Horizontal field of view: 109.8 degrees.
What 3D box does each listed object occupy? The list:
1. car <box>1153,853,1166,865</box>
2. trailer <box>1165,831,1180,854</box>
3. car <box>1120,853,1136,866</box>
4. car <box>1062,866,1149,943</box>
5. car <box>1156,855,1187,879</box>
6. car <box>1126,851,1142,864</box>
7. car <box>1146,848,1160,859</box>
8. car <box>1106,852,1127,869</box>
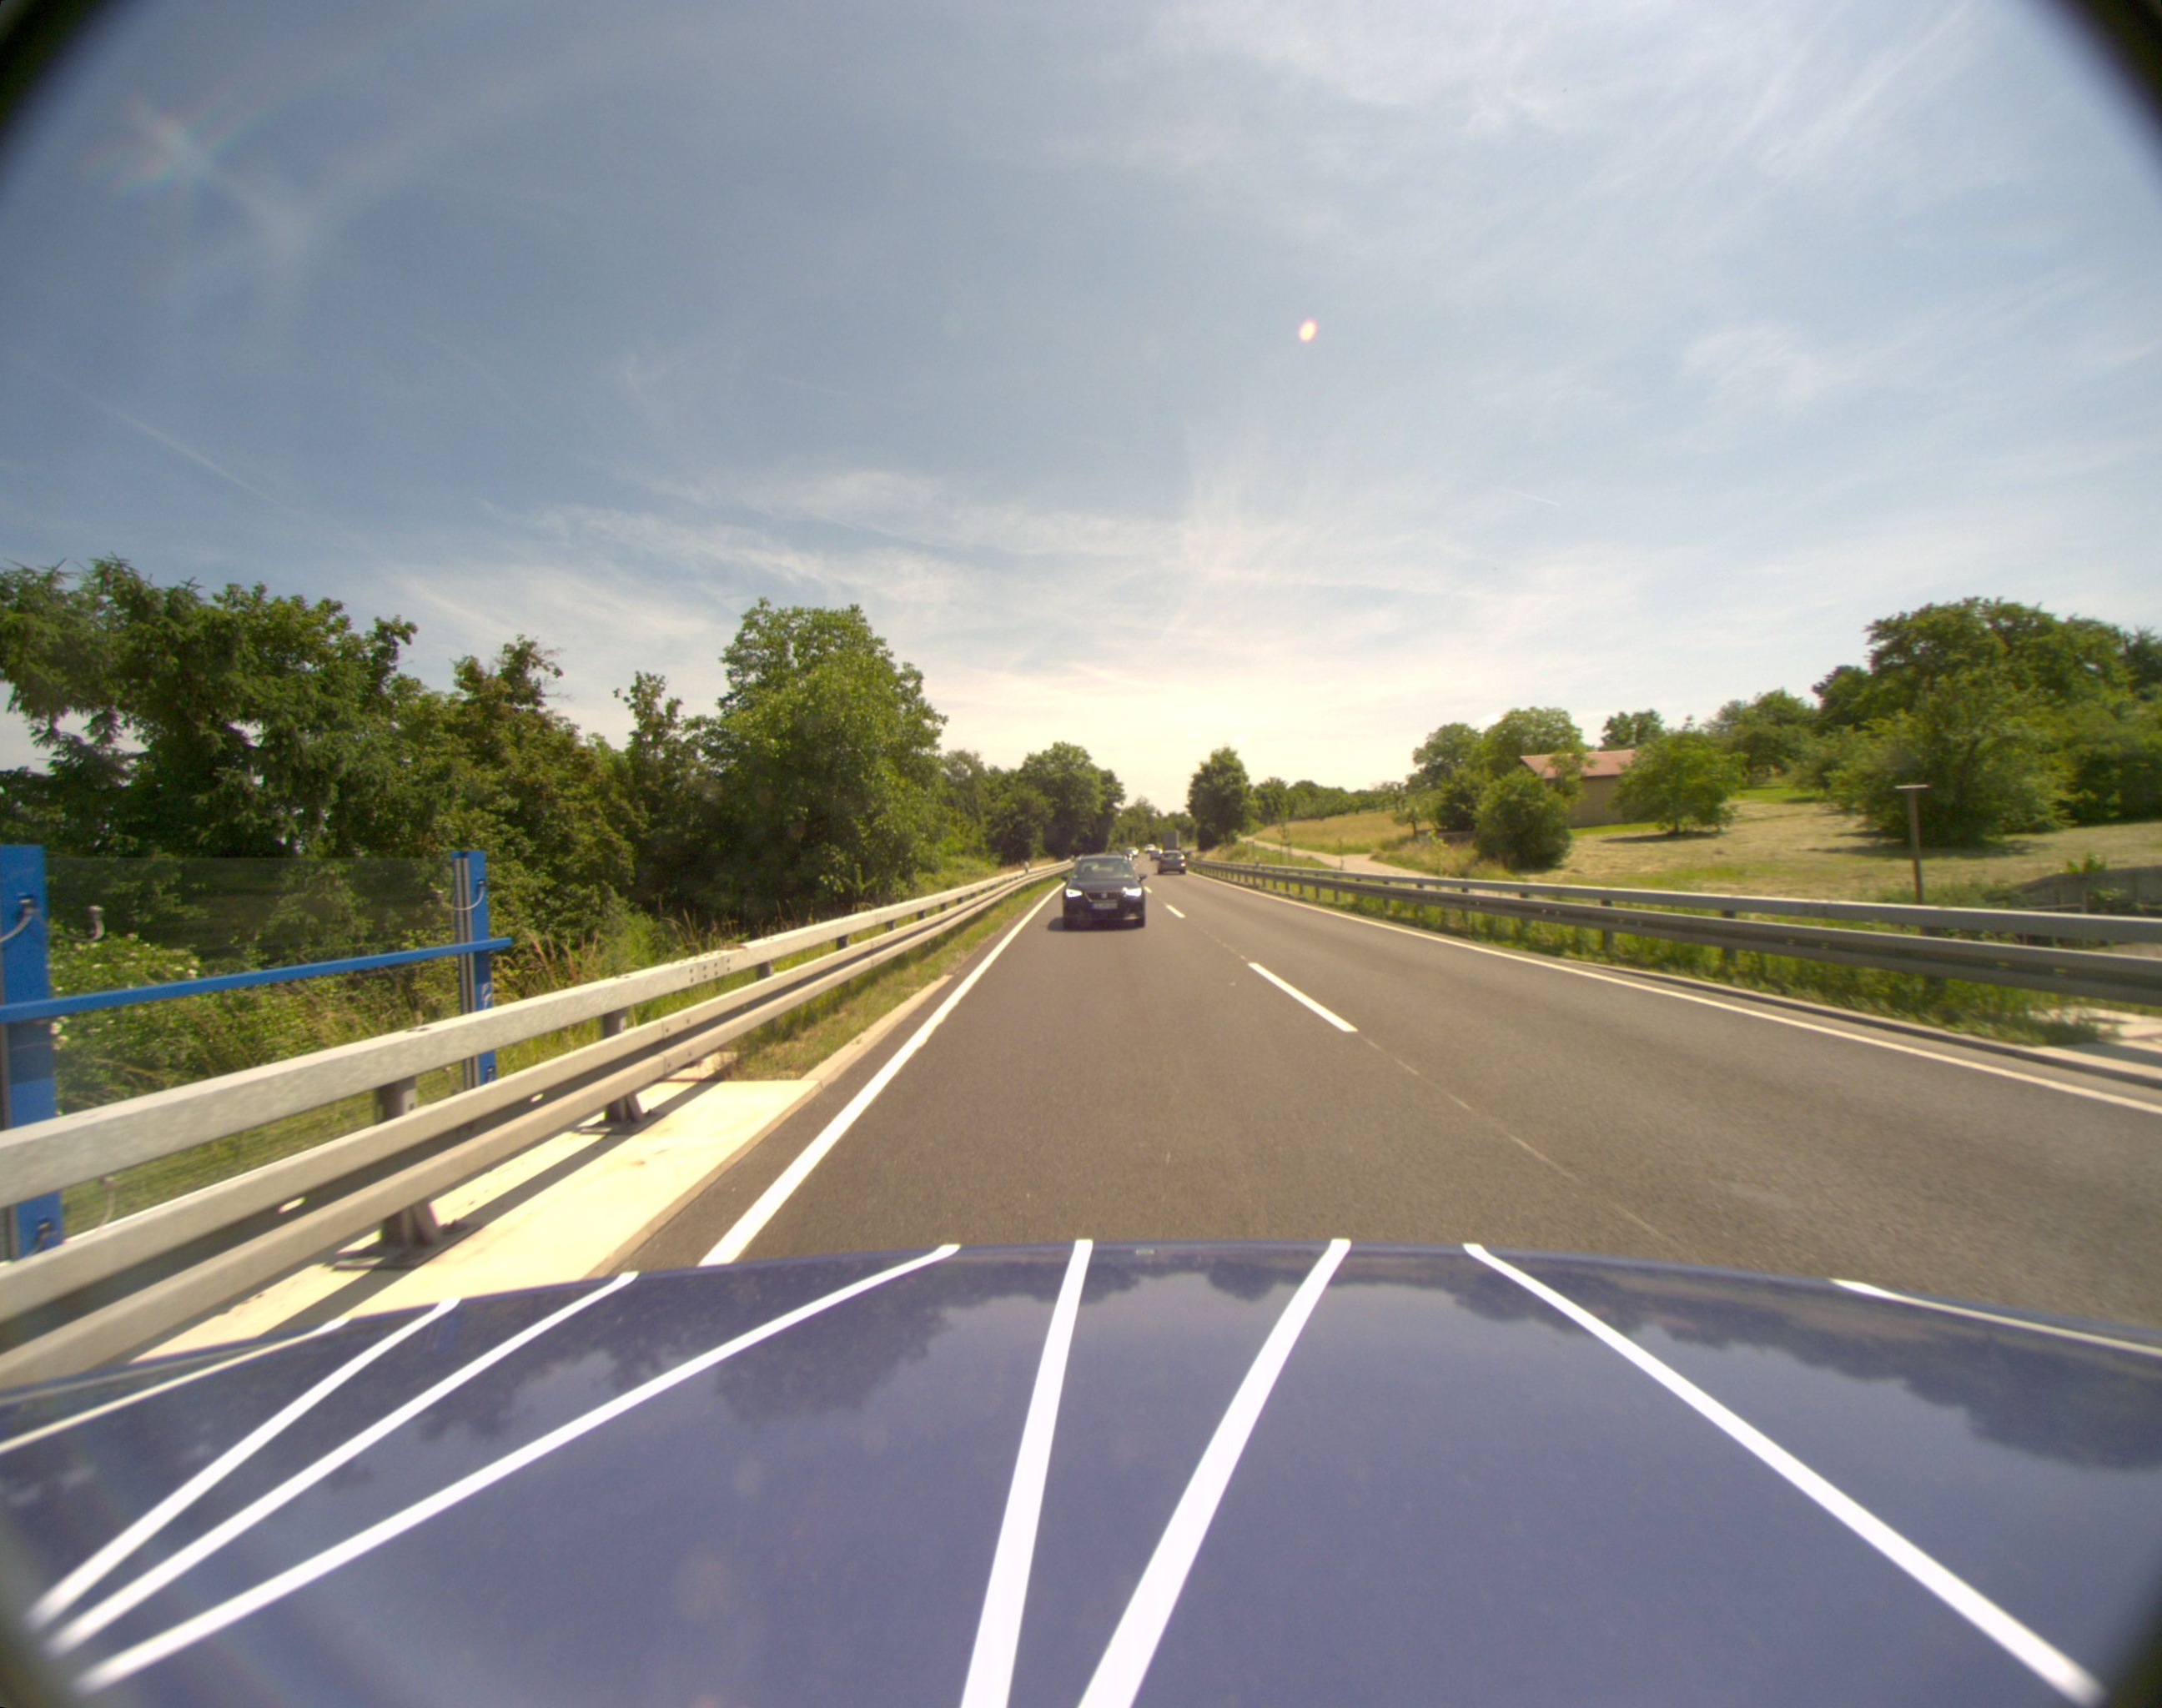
[{"bbox_3d":[9.965,0.639,96.217,1.649,1.432,4.161,0,0,7],"label":"car"},{"bbox_3d":[17.153,-2.064,141.898,2.450,4.160,14.023,0,0,8],"label":"trailer"},{"bbox_3d":[6.306,0.760,101.673,1.882,1.698,4.003,-1,0,8],"label":"car"},{"bbox_3d":[0.509,1.033,17.184,1.738,1.467,4.000,-1,0,0],"label":"car"},{"bbox_3d":[6.206,0.859,52.501,1.810,1.580,4.380,-1,0,3],"label":"car"},{"bbox_3d":[8.386,0.576,120.221,1.996,2.002,4.003,0,1,12],"label":"car"},{"bbox_3d":[13.979,-0.184,147.667,1.996,2.002,4.004,-1,1,14],"label":"car"},{"bbox_3d":[3.692,0.616,77.869,1.882,1.698,4.002,-1,0,6],"label":"car"}]
